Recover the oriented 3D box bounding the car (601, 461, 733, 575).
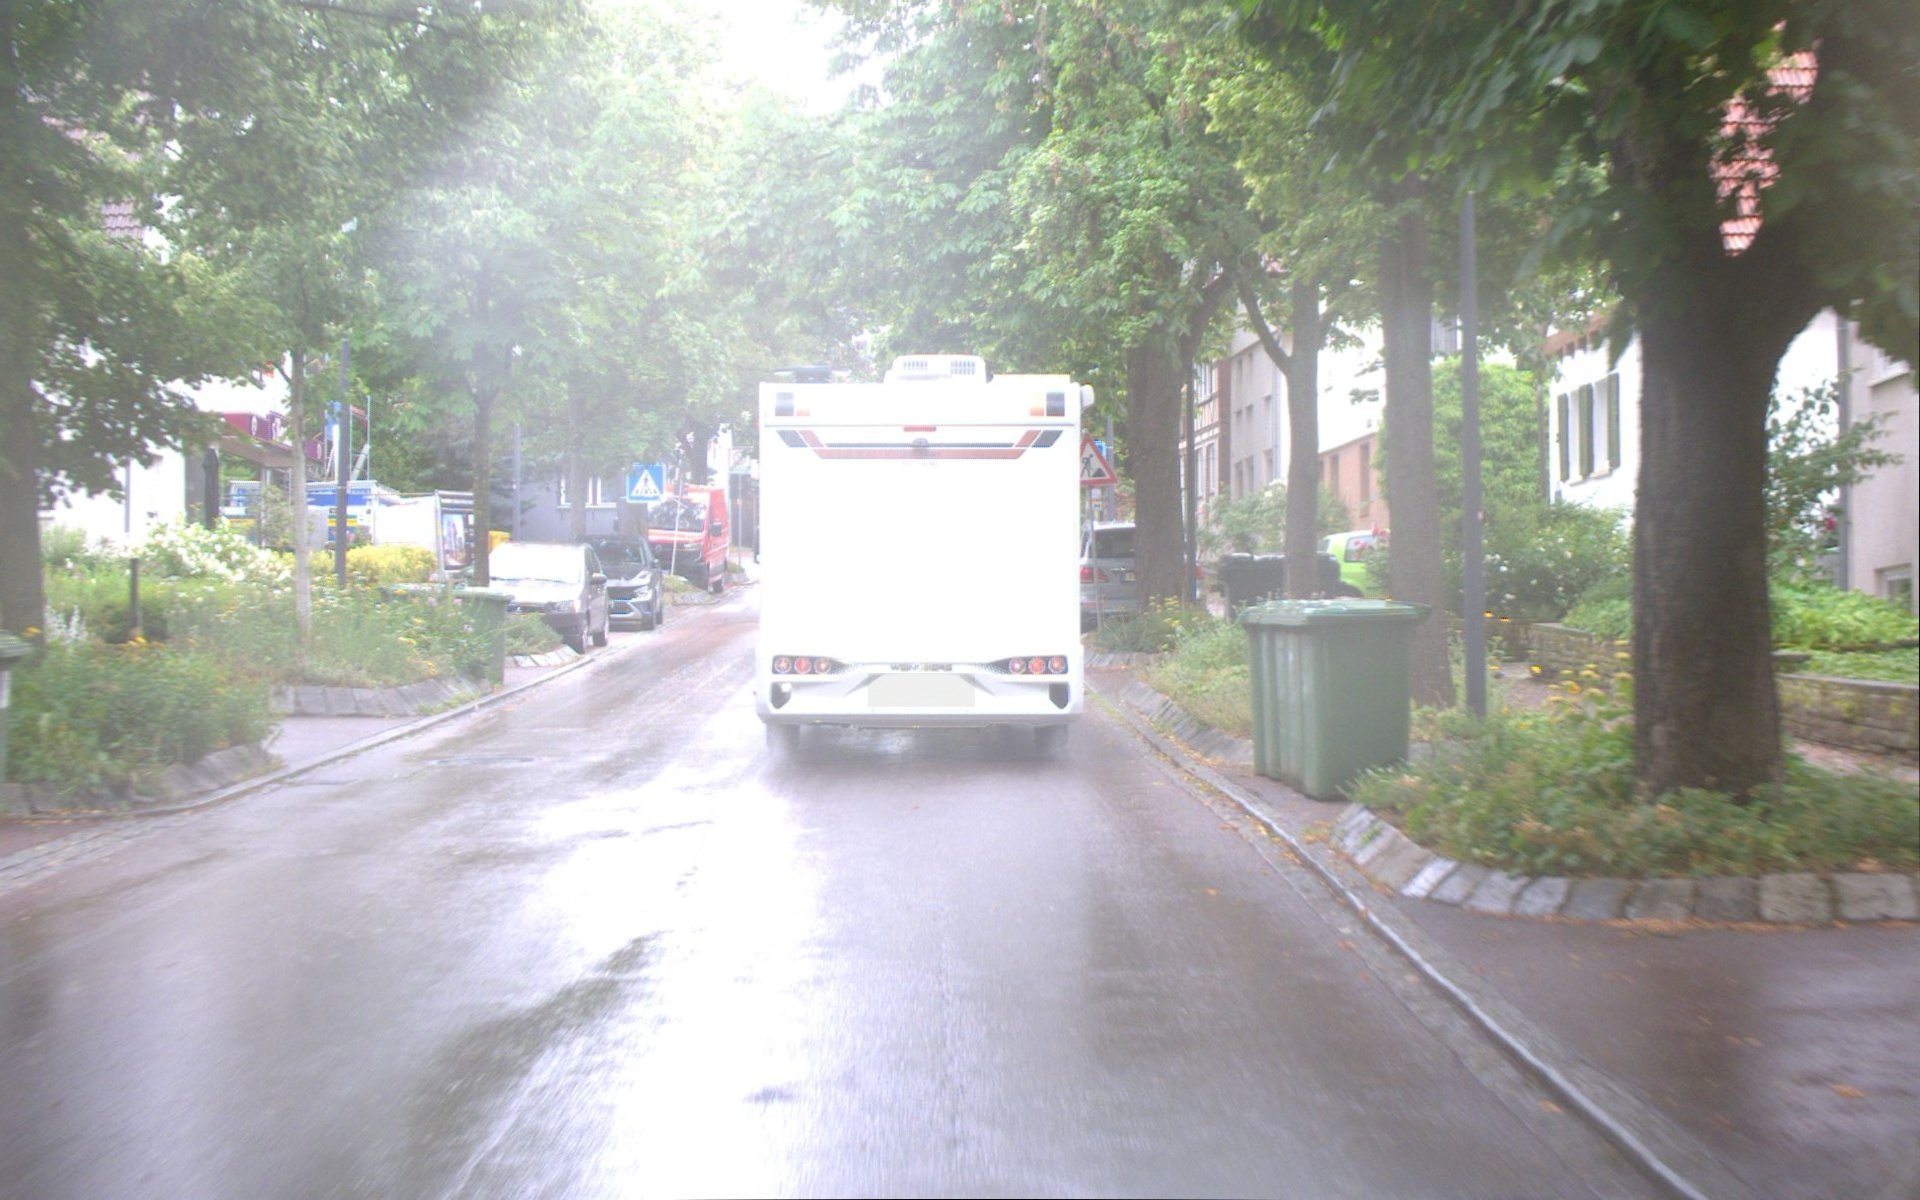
[{"bbox_3d":[-6.611,-1.892,78.121,2.303,2.474,5.785,0,2,2],"label":"car"}]

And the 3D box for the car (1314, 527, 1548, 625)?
[{"bbox_3d":[7.400,-0.395,54.237,3.364,1.425,1.631,-2,1,-4],"label":"car"}]

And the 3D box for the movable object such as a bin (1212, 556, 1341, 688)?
[{"bbox_3d":[3.214,0.213,35.048,1.225,1.311,1.134,-1,1,2],"label":"movable object such as a bin"}]

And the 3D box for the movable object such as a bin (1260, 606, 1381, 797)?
[{"bbox_3d":[2.070,0.576,19.779,0.609,1.079,0.513,0,1,-4],"label":"movable object such as a bin"}]

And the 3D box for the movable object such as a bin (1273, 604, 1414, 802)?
[{"bbox_3d":[2.134,0.565,19.175,0.688,1.079,0.541,0,1,-4],"label":"movable object such as a bin"}]

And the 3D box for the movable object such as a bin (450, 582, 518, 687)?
[{"bbox_3d":[-5.134,0.365,37.093,0.643,1.107,0.536,-1,1,1],"label":"movable object such as a bin"}]

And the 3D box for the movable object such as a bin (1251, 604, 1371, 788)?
[{"bbox_3d":[2.089,0.566,20.504,0.630,1.079,0.472,0,1,-4],"label":"movable object such as a bin"}]

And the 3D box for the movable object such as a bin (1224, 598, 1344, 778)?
[{"bbox_3d":[1.978,0.534,21.052,0.643,1.079,0.541,0,1,-4],"label":"movable object such as a bin"}]

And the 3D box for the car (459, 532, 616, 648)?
[{"bbox_3d":[-5.940,-0.176,48.677,1.647,1.528,3.866,1,1,1],"label":"car"}]

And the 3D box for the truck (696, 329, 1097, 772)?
[{"bbox_3d":[-0.459,-0.369,26.291,2.694,2.975,6.237,0,1,-1],"label":"truck"}]

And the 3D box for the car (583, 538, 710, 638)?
[{"bbox_3d":[-5.243,-0.233,57.944,1.771,1.548,4.000,2,1,-1],"label":"car"}]

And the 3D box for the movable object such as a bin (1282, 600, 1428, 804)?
[{"bbox_3d":[2.131,0.546,18.597,0.688,1.079,0.541,0,1,-4],"label":"movable object such as a bin"}]

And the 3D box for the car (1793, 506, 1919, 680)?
[{"bbox_3d":[12.117,0.033,39.523,4.461,1.893,2.000,4,0,-1],"label":"car"}]

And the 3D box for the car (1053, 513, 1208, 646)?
[{"bbox_3d":[2.370,-0.319,48.759,1.914,1.786,4.489,0,1,-1],"label":"car"}]

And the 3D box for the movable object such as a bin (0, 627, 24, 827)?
[{"bbox_3d":[-5.404,0.672,18.370,0.595,1.059,0.545,3,1,3],"label":"movable object such as a bin"}]
